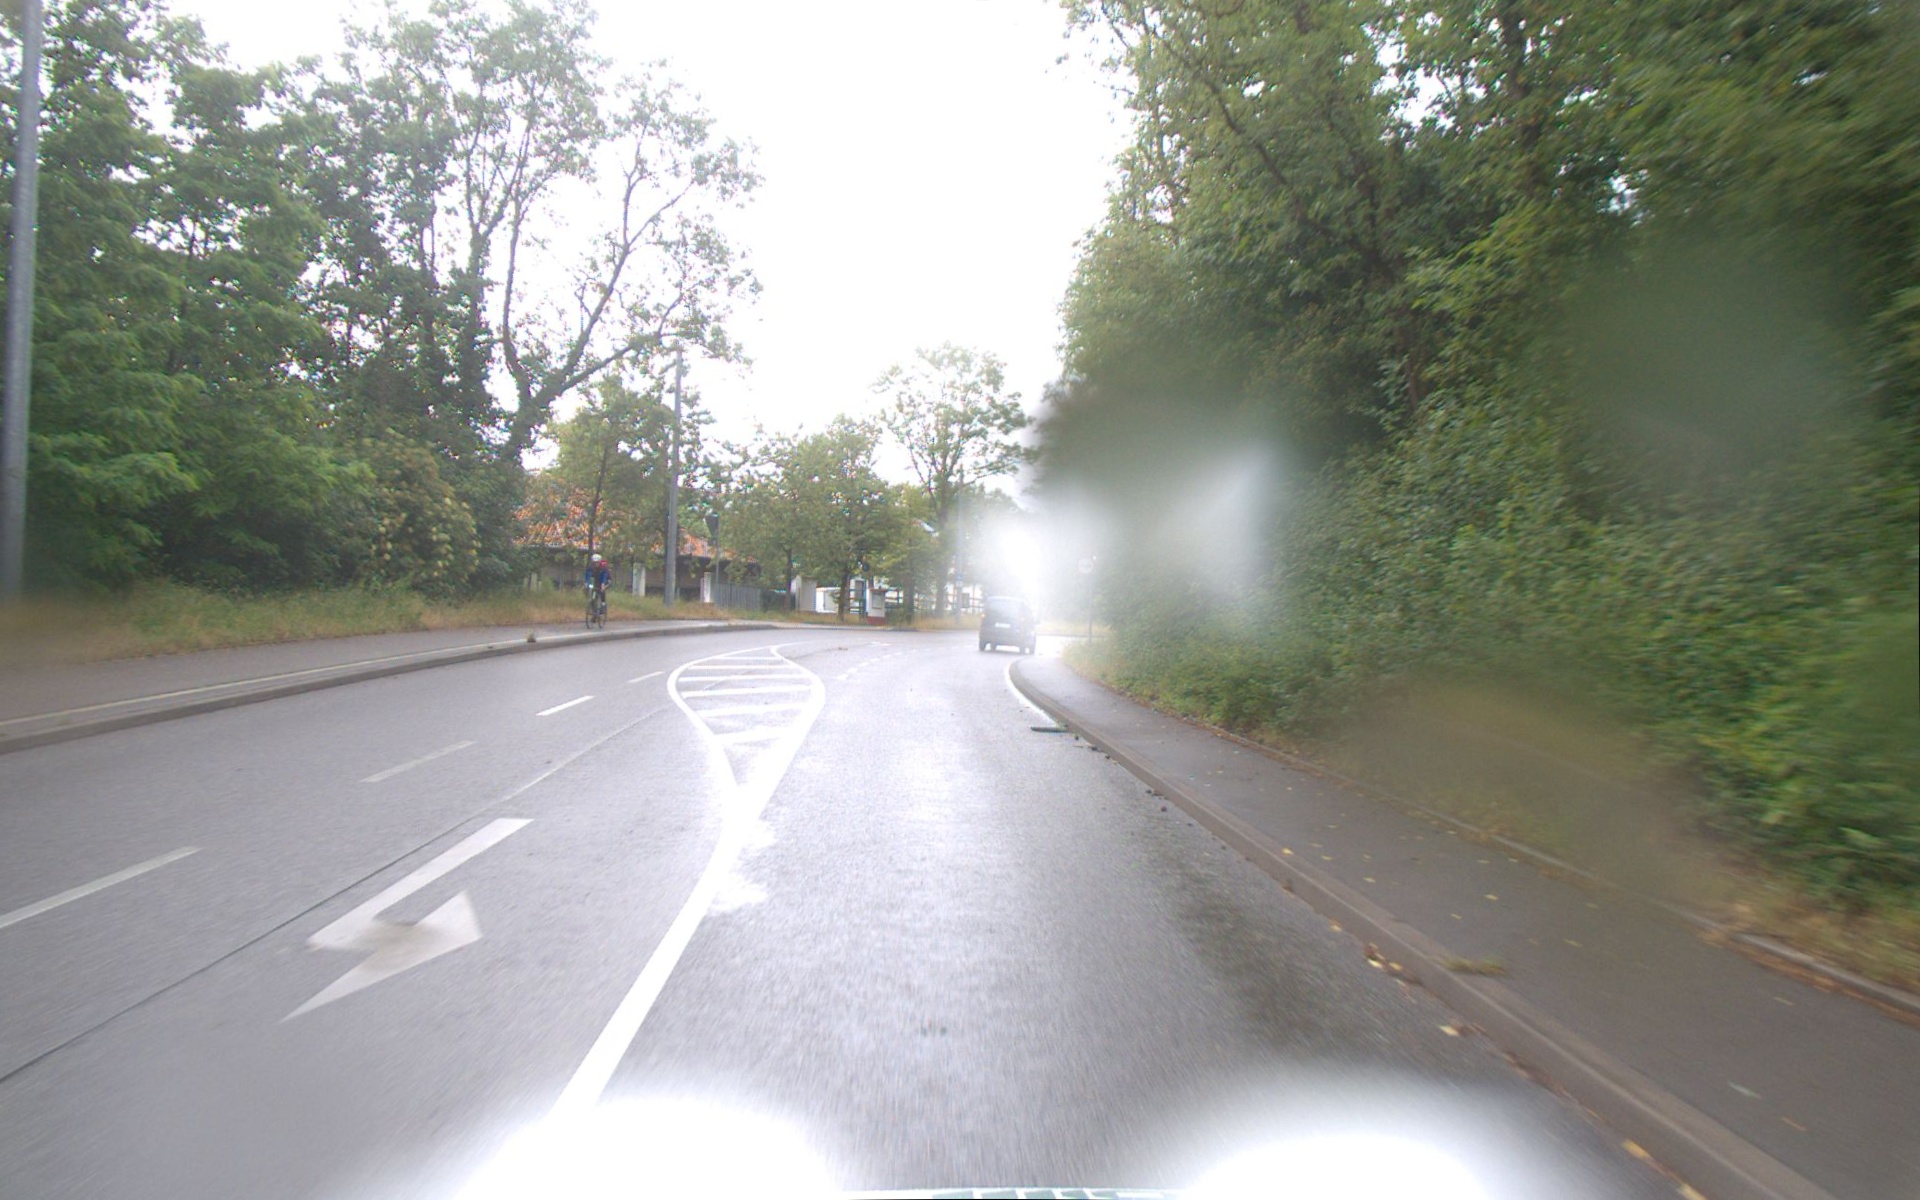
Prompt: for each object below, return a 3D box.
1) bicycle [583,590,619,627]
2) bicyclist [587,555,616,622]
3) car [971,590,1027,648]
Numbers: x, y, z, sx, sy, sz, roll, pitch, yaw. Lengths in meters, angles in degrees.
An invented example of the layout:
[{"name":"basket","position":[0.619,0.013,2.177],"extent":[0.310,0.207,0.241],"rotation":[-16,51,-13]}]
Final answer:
[{"name":"bicycle","position":[-8.781,0.185,40.508],"extent":[0.348,0.864,2.094],"rotation":[2,1,1]},{"name":"bicyclist","position":[-8.770,-0.267,40.486],"extent":[0.329,1.602,1.298],"rotation":[2,-1,2]},{"name":"car","position":[1.372,0.700,57.039],"extent":[1.789,1.825,4.000],"rotation":[-2,-2,2]}]
